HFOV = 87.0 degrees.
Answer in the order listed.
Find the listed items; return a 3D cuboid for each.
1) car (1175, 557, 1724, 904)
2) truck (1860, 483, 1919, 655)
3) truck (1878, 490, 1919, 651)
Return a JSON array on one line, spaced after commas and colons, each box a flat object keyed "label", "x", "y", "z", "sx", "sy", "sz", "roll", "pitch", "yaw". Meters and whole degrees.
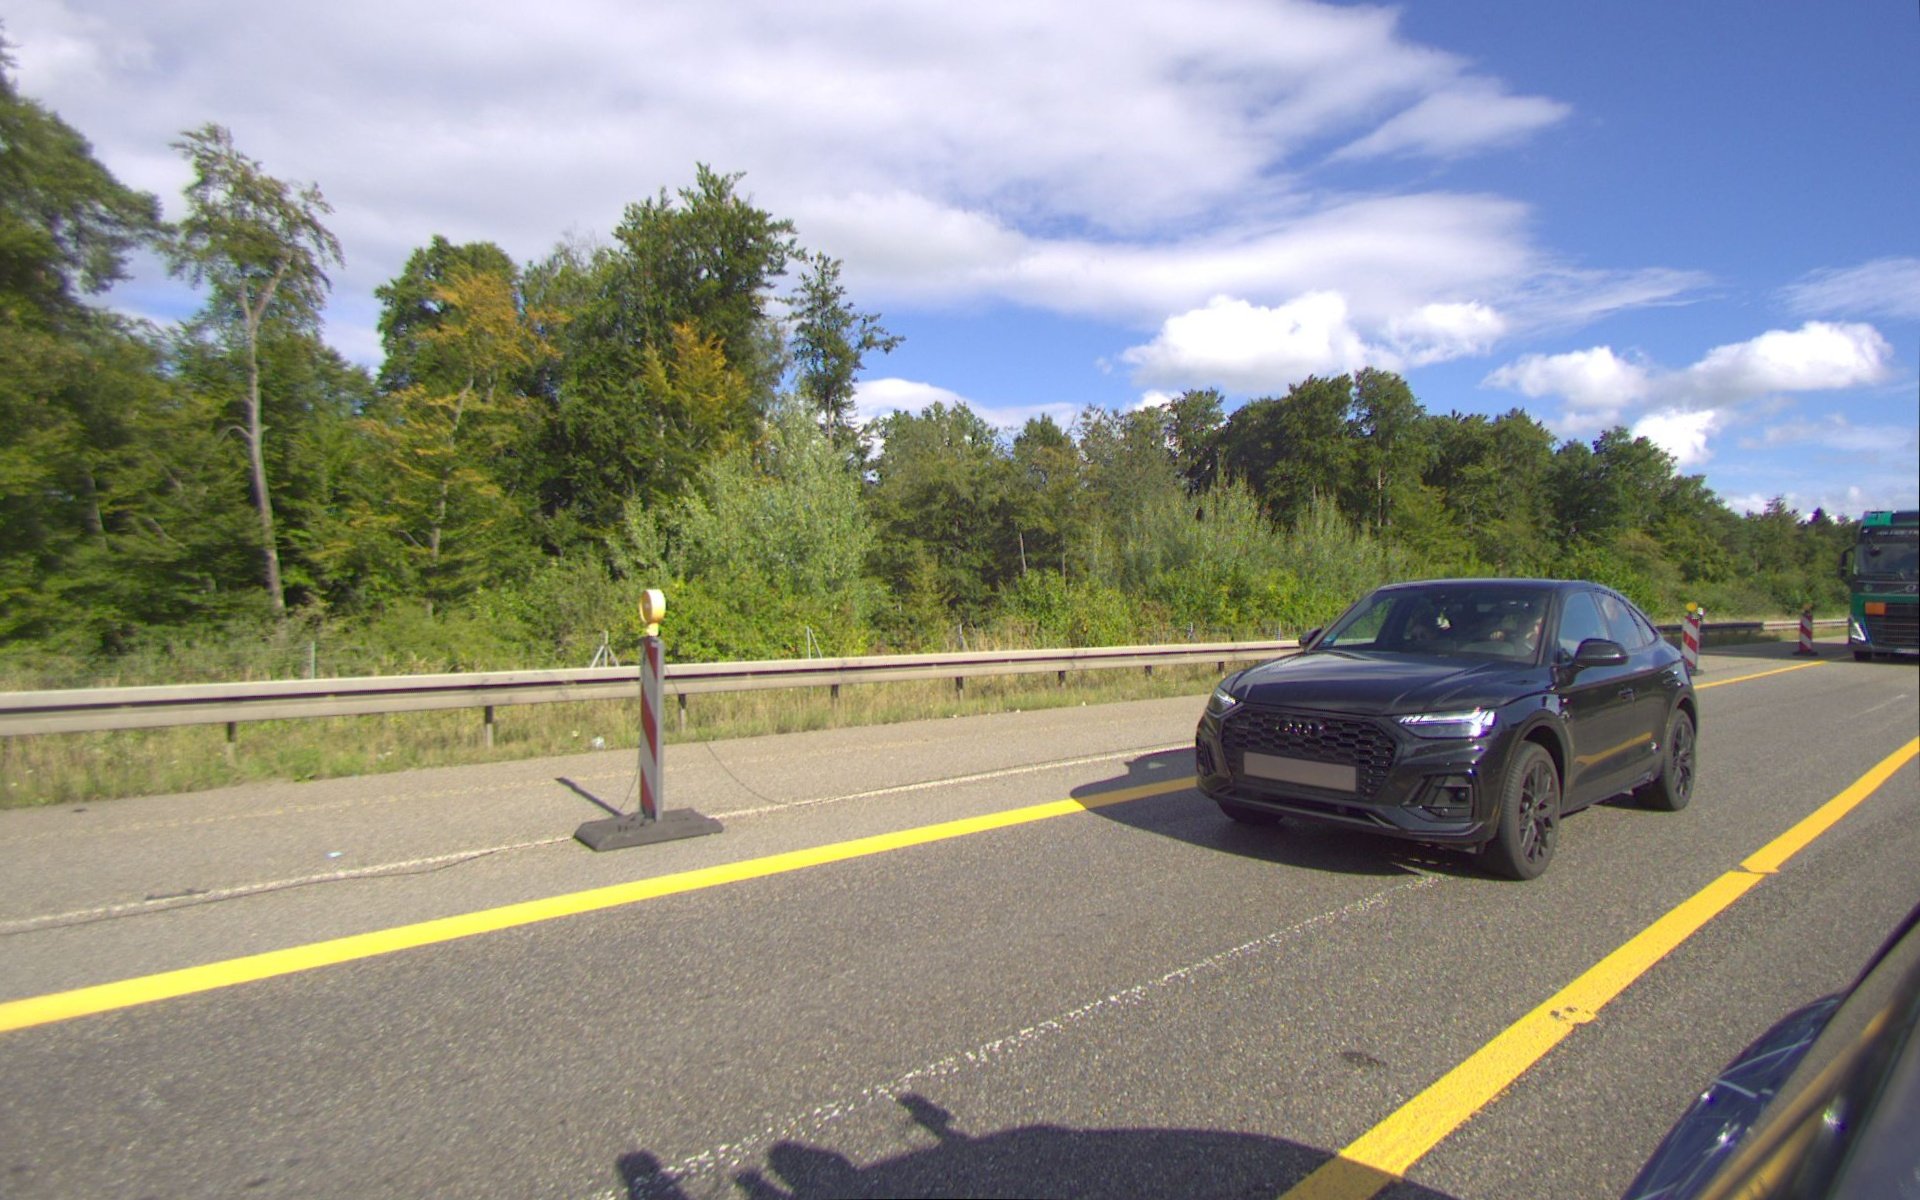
[{"label": "car", "x": 3.467, "y": 0.591, "z": 6.788, "sx": 4.218, "sy": 1.623, "sz": 1.781, "roll": -1, "pitch": 0, "yaw": -41}, {"label": "truck", "x": 25.902, "y": -0.773, "z": 26.541, "sx": 6.736, "sy": 4.151, "sz": 2.526, "roll": 0, "pitch": 0, "yaw": -41}, {"label": "truck", "x": 30.599, "y": -0.736, "z": 30.592, "sx": 13.959, "sy": 4.196, "sz": 2.468, "roll": 0, "pitch": -1, "yaw": -41}]
